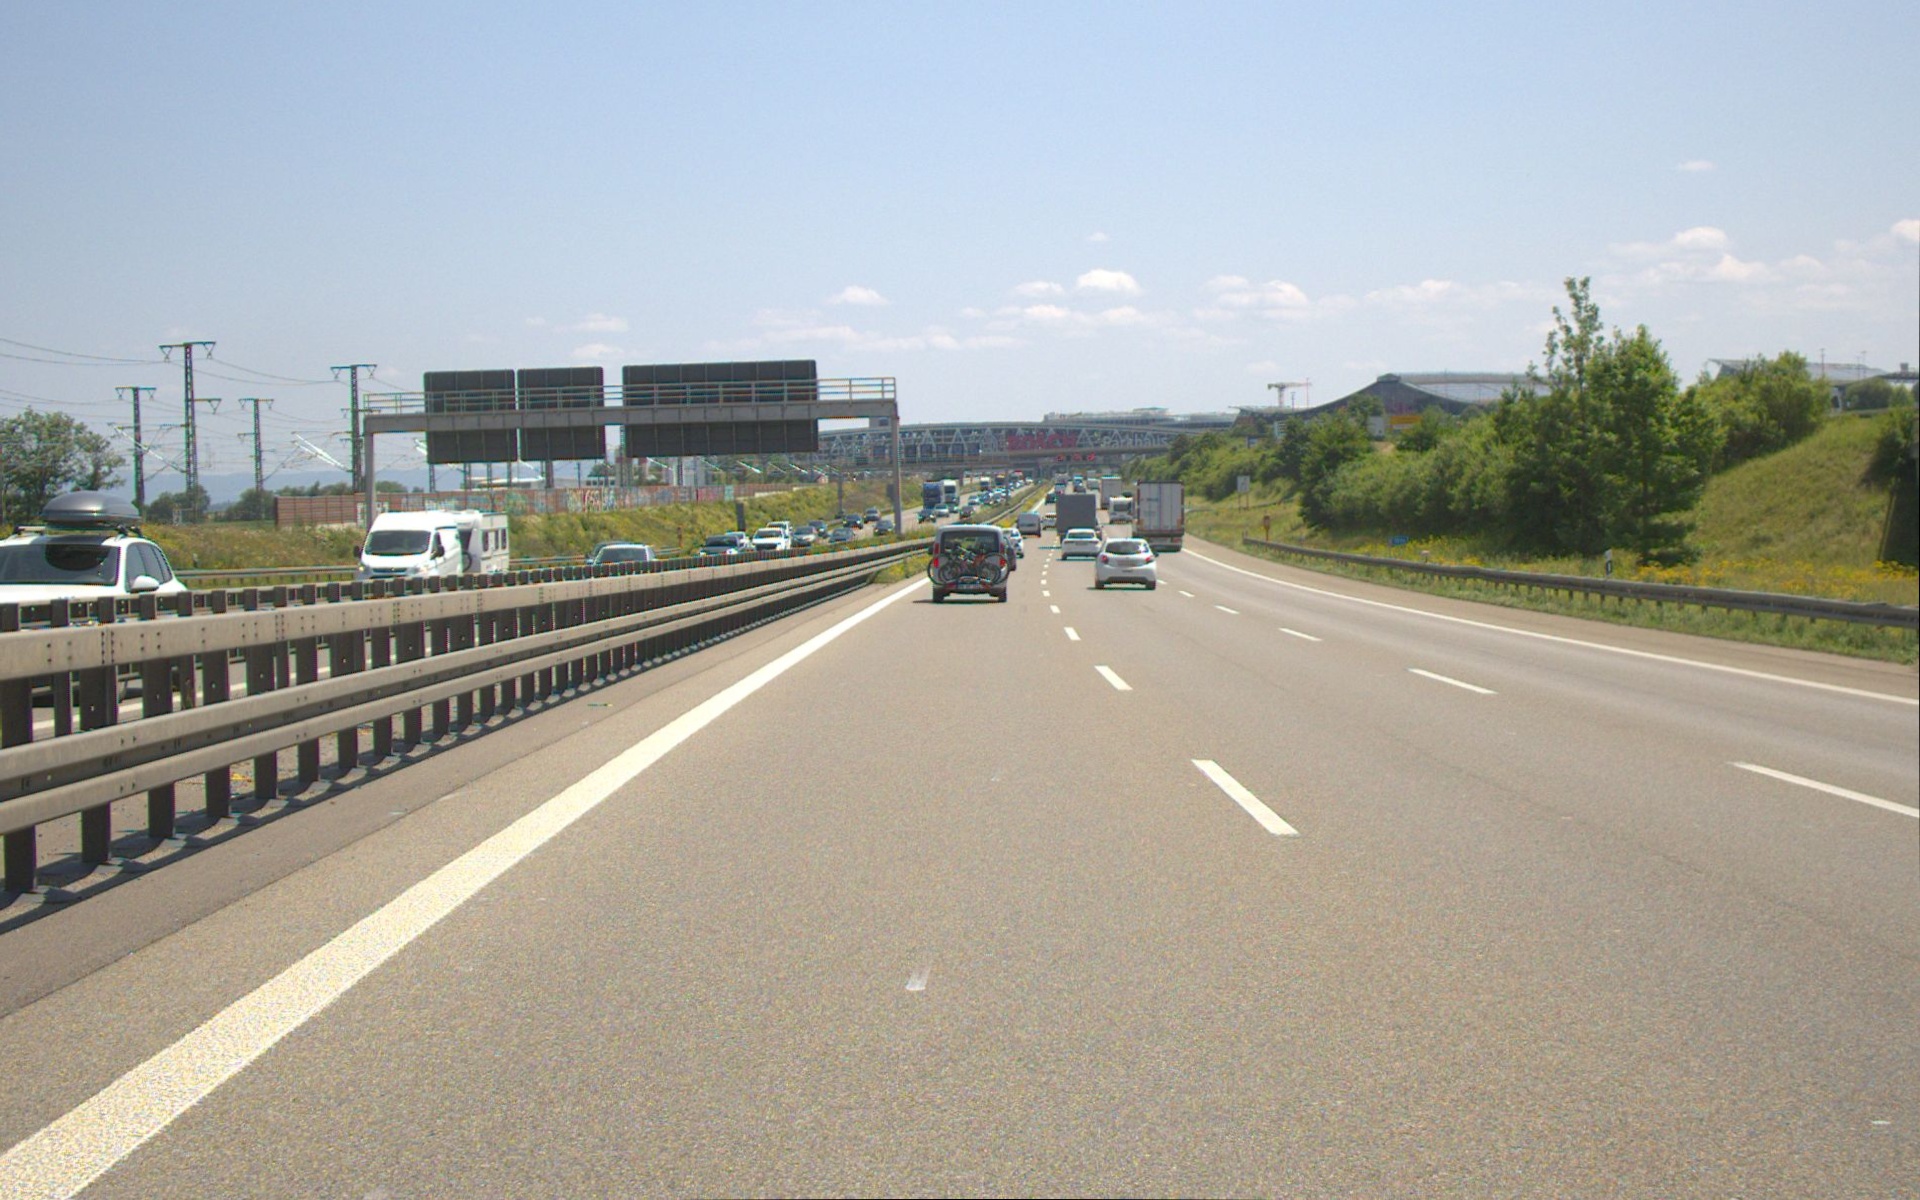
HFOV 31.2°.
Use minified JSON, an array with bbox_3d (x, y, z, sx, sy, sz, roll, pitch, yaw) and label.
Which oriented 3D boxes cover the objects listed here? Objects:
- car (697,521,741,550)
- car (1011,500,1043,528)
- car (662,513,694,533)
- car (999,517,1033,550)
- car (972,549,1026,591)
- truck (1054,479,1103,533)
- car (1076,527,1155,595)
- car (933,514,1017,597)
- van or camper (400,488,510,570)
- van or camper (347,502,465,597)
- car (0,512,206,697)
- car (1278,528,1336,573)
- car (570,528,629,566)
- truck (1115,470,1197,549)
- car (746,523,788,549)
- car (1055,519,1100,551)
[{"bbox_3d":[-11.033,-2.953,157.599,1.765,1.342,4.000,0,1,0],"label":"car"},{"bbox_3d":[5.040,-6.490,258.751,2.186,1.996,4.001,0,3,-1],"label":"car"},{"bbox_3d":[-19.909,-5.429,242.632,1.947,1.342,4.000,0,1,0],"label":"car"},{"bbox_3d":[2.811,-3.320,171.850,1.576,1.547,3.963,0,0,3],"label":"car"},{"bbox_3d":[1.501,-1.166,135.104,1.926,1.621,4.518,0,0,-2],"label":"car"},{"bbox_3d":[7.317,-5.788,213.023,2.702,3.098,10.659,0,0,0],"label":"truck"},{"bbox_3d":[4.484,-1.115,99.602,1.926,1.912,4.518,0,0,-2],"label":"car"},{"bbox_3d":[0.337,-1.034,81.956,1.926,1.912,4.948,0,0,0],"label":"car"},{"bbox_3d":[-16.988,-2.394,116.180,2.517,2.656,8.064,0,1,0],"label":"van or camper"},{"bbox_3d":[-13.842,-1.274,86.152,1.993,2.292,5.894,0,1,0],"label":"van or camper"},{"bbox_3d":[-9.258,0.018,35.879,1.807,1.792,4.840,0,1,-1],"label":"car"},{"bbox_3d":[15.027,-2.125,148.957,1.926,1.912,4.518,0,0,-2],"label":"car"},{"bbox_3d":[-13.037,-1.935,124.503,1.693,1.342,4.000,0,1,0],"label":"car"},{"bbox_3d":[11.113,-5.248,196.285,4.039,4.247,11.758,0,3,0],"label":"truck"},{"bbox_3d":[-10.009,-3.318,178.675,1.947,1.342,4.000,0,1,0],"label":"car"},{"bbox_3d":[5.570,-3.072,163.315,1.982,1.468,4.000,0,0,0],"label":"car"}]
